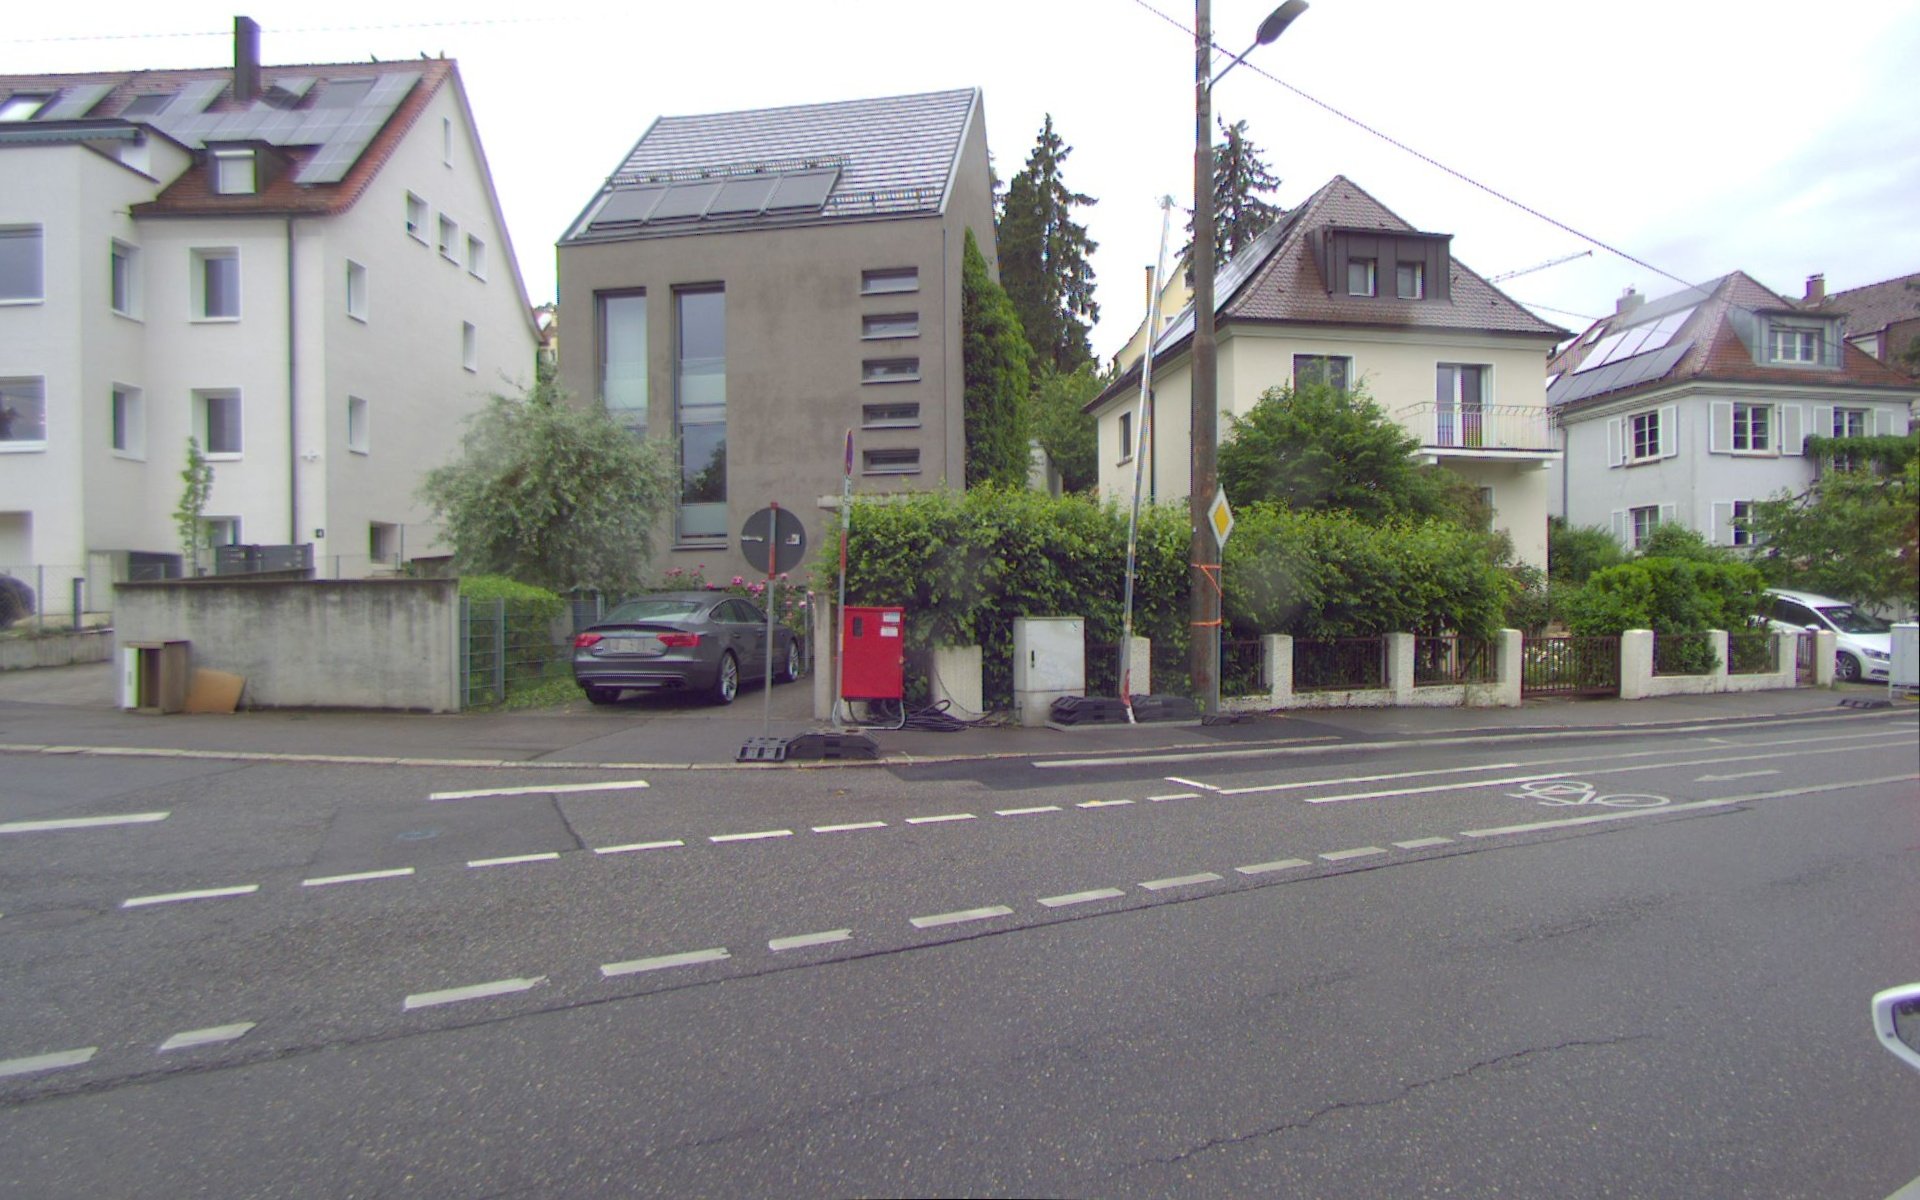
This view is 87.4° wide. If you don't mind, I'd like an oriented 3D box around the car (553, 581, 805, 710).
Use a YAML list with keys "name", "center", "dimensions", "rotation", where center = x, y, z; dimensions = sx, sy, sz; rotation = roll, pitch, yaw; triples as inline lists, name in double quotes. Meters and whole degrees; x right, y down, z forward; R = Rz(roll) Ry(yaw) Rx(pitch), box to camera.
- name: "car"
  center: [-3.571, 0.524, 13.595]
  dimensions: [1.802, 1.463, 4.002]
  rotation: [0, 0, 8]

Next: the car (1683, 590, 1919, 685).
- name: "car"
  center: [19.610, 0.820, 23.579]
  dimensions: [1.801, 2.040, 3.984]
  rotation: [1, 0, -18]

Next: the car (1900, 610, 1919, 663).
- name: "car"
  center: [28.440, 1.099, 27.193]
  dimensions: [1.733, 1.505, 3.983]
  rotation: [3, 0, -19]

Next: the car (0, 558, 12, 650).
- name: "car"
  center: [-16.900, 0.048, 15.027]
  dimensions: [1.700, 1.528, 3.820]
  rotation: [1, 0, 3]

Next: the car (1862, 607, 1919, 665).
- name: "car"
  center: [26.524, 1.028, 26.273]
  dimensions: [1.733, 1.505, 3.983]
  rotation: [3, 0, -19]
